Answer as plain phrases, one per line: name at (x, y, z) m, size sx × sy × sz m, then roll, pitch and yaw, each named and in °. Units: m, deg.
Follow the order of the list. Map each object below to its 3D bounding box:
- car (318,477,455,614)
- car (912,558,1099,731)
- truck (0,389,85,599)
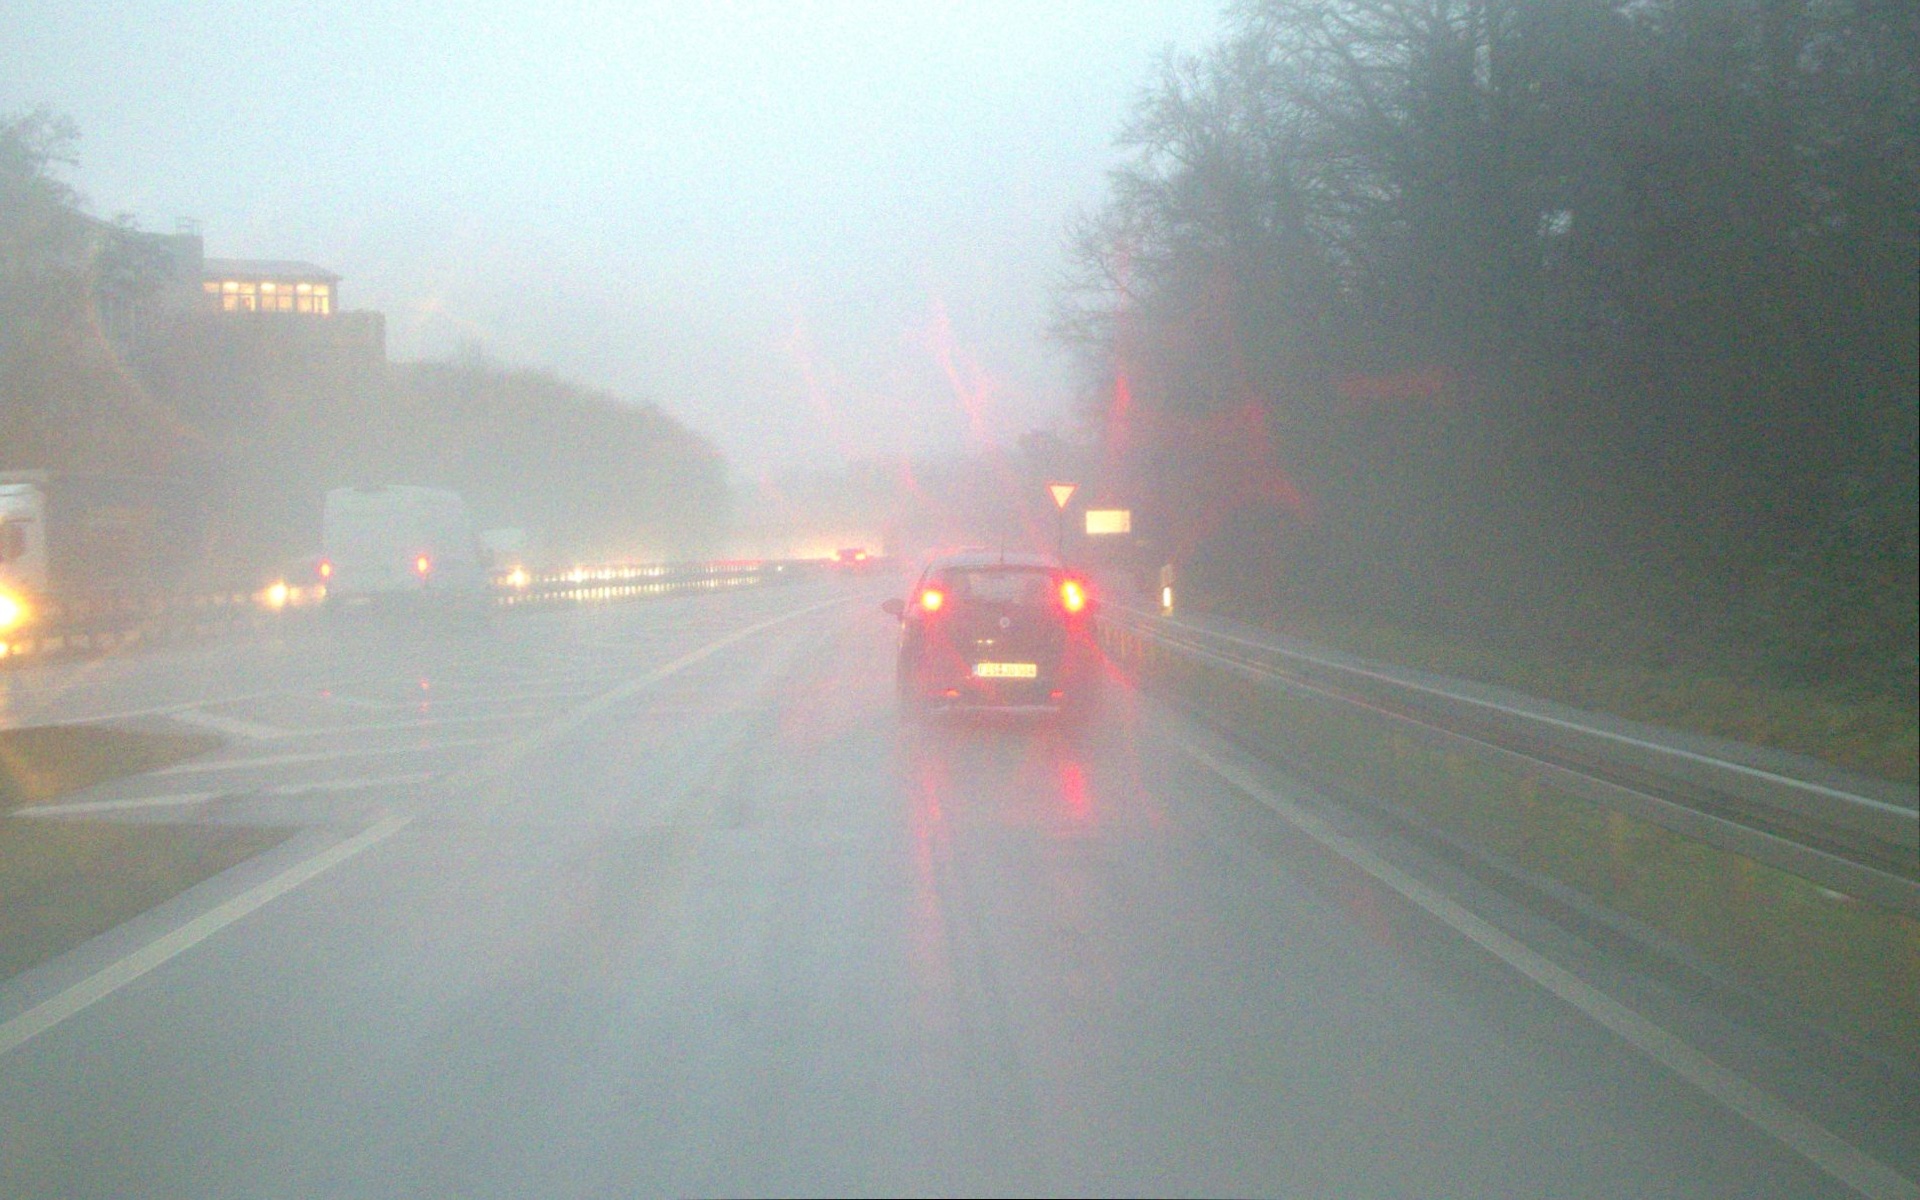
car at (-10.685, -1.015, 64.331) m, size 2.000 × 2.445 × 4.000 m, roll 1°, pitch 1°, yaw -2°
car at (0.375, 0.347, 30.174) m, size 1.527 × 1.411 × 3.479 m, roll 1°, pitch 1°, yaw 0°
truck at (-23.662, -2.506, 82.028) m, size 3.490 × 4.831 × 6.030 m, roll 1°, pitch 1°, yaw 6°
